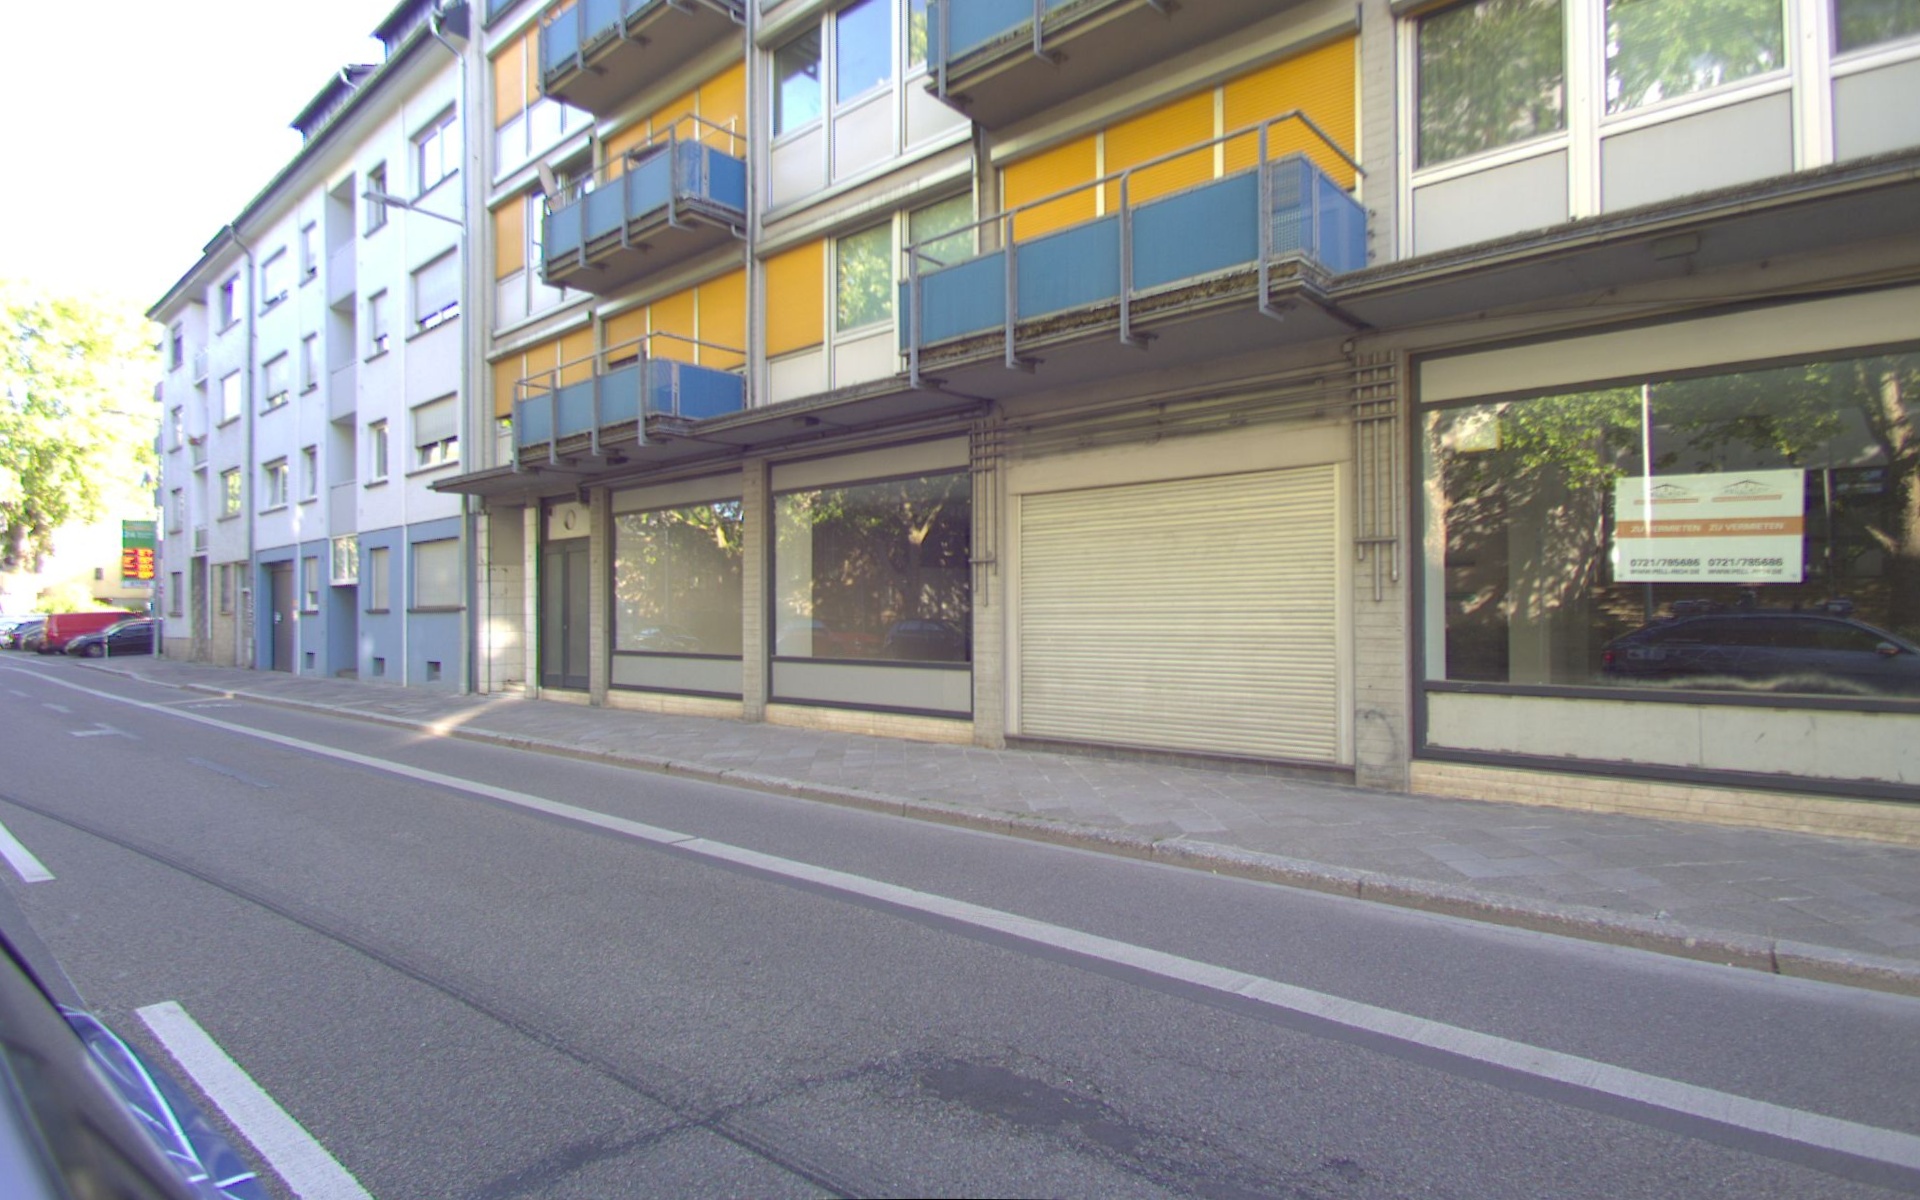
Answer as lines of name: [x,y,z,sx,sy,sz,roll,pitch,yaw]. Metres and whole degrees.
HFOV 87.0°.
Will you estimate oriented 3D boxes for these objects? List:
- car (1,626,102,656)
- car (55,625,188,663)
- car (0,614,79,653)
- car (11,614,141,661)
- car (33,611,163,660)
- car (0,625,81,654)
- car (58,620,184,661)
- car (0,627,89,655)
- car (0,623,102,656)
car: [-50.254,2.245,56.023,1.915,1.466,3.945,-2,0,41]
car: [-36.420,1.866,44.034,2.045,1.390,4.184,-1,1,41]
car: [-59.320,2.139,64.309,2.139,2.233,4.794,-2,1,41]
car: [-42.804,1.772,49.077,2.056,1.966,4.475,-2,1,41]
car: [-40.467,1.628,47.579,2.145,1.966,4.375,-2,1,41]
car: [-55.931,2.378,61.246,1.852,1.571,3.945,-2,0,41]
car: [-38.067,1.799,45.976,1.886,1.575,4.129,-1,1,41]
car: [-54.285,2.403,59.899,1.852,1.444,3.945,-2,0,41]
car: [-52.331,2.254,58.293,2.027,1.696,4.150,-2,0,41]
